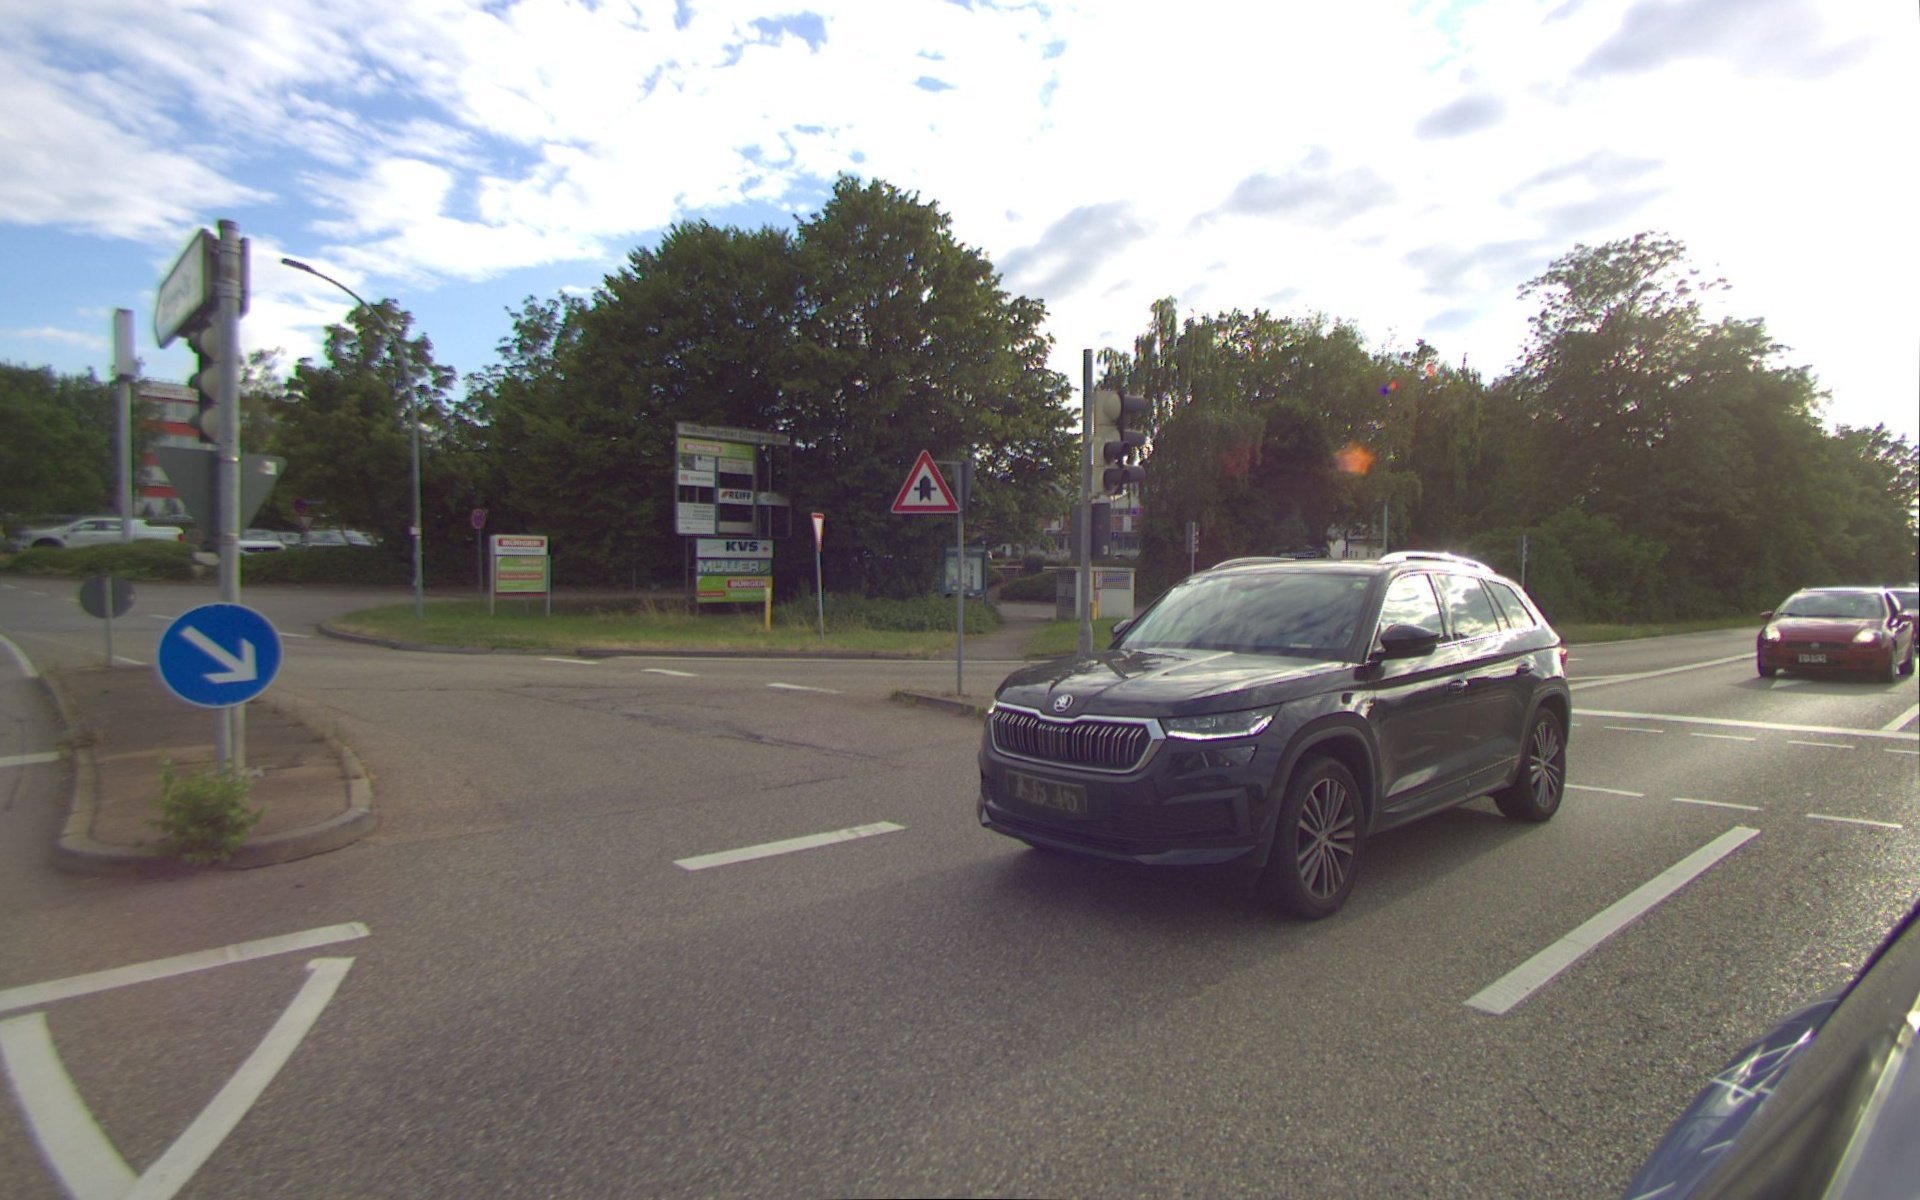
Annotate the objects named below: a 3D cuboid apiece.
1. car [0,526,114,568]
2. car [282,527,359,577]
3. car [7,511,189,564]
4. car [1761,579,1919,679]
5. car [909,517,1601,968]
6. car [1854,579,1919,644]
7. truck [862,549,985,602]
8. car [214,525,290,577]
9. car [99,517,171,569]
[{"bbox_3d":[-43.163,-2.509,48.142,1.954,1.906,4.241,5,4,42],"label":"car"},{"bbox_3d":[-26.689,-2.016,42.184,1.928,1.874,4.298,-1,5,-43],"label":"car"},{"bbox_3d":[-35.678,-2.550,42.031,1.993,2.038,5.531,4,4,42],"label":"car"},{"bbox_3d":[14.615,0.385,16.612,3.926,1.450,1.665,-1,1,-42],"label":"car"},{"bbox_3d":[1.989,0.504,5.924,4.404,1.671,1.847,-1,0,-42],"label":"car"},{"bbox_3d":[22.533,0.220,23.917,3.932,1.433,1.698,-1,1,-42],"label":"car"},{"bbox_3d":[-1.436,-0.957,40.274,4.601,2.022,1.816,0,1,14],"label":"truck"},{"bbox_3d":[-28.475,-1.985,40.672,1.928,1.906,4.298,-1,5,-43],"label":"car"},{"bbox_3d":[-32.683,-2.272,40.035,1.928,1.906,4.298,-1,5,-43],"label":"car"}]
